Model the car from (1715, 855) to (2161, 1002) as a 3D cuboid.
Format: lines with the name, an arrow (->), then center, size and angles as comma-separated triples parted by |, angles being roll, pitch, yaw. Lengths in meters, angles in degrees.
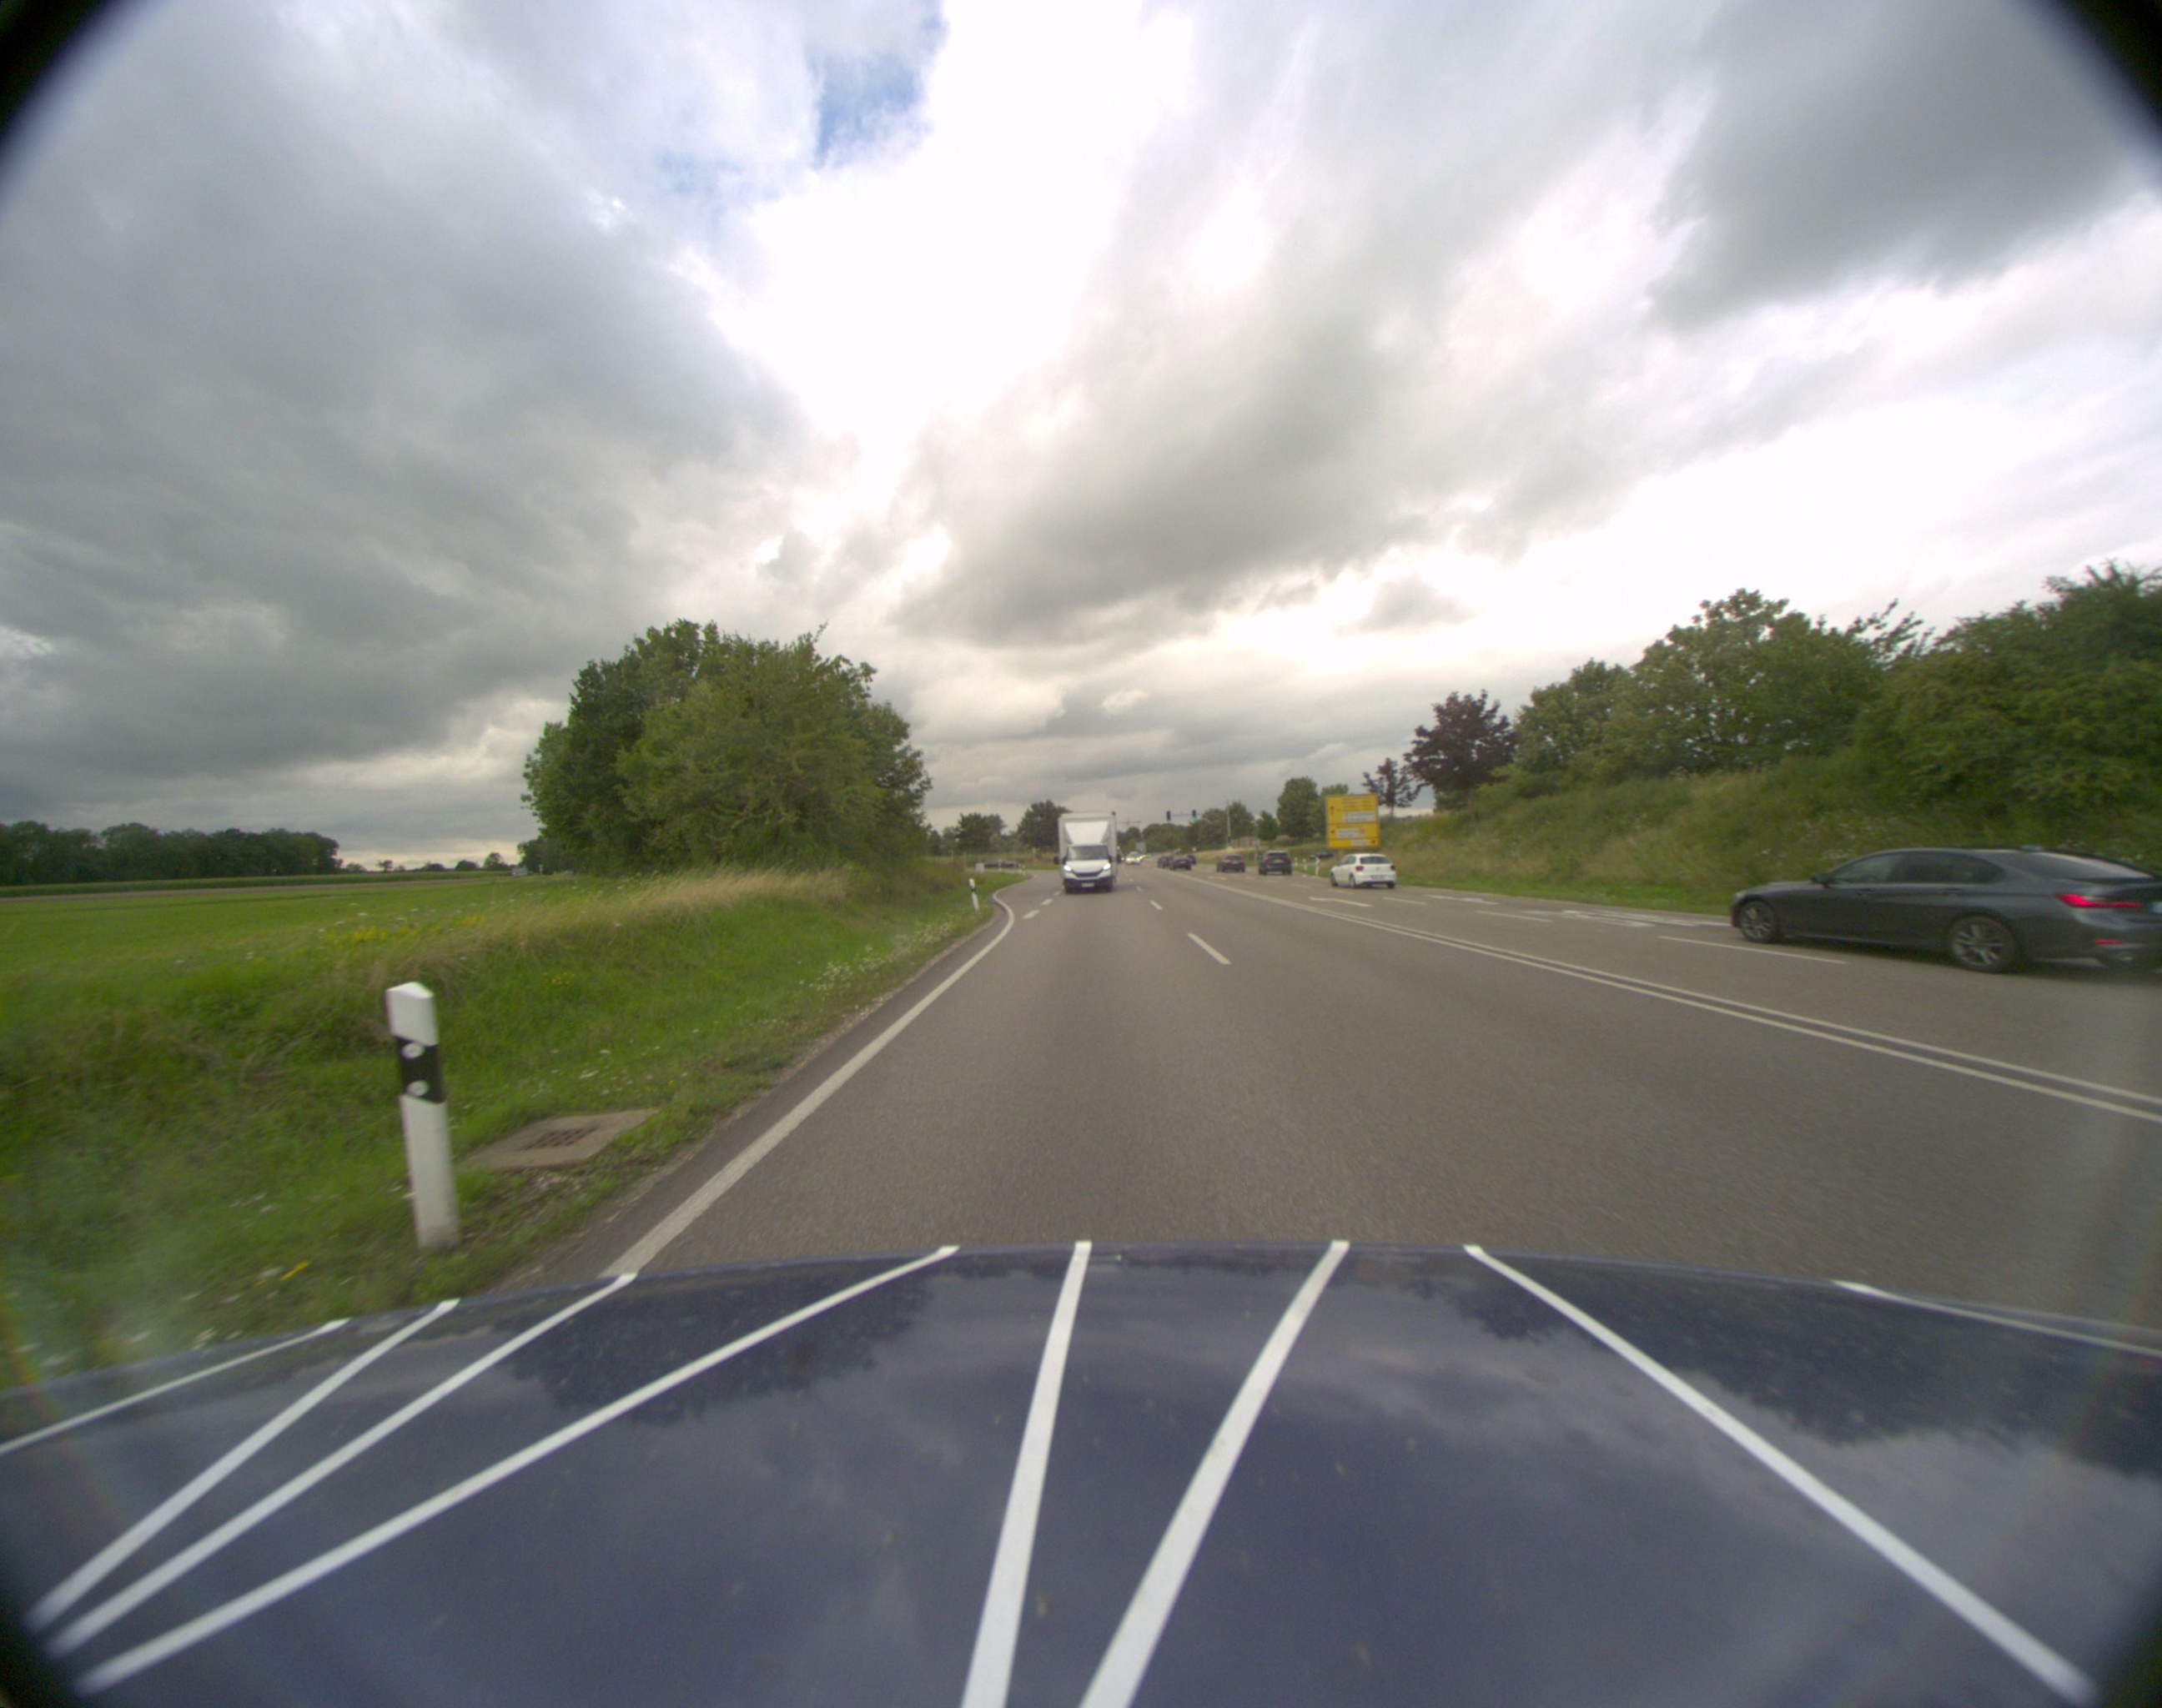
car -> 10.943, 0.720, 9.683 | 1.798, 1.397, 4.705 | 0, 0, 0

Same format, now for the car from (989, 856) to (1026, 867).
car -> -9.364, 0.978, 97.250 | 4.345, 1.214, 1.866 | -2, 0, 5

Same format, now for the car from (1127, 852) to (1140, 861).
car -> 8.000, 0.394, 116.581 | 1.860, 1.274, 4.001 | -1, 0, 3

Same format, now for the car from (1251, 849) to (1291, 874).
car -> 13.068, 0.475, 52.510 | 1.860, 1.586, 4.399 | -1, 0, 3

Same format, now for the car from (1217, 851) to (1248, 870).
car -> 12.329, 0.483, 62.004 | 1.727, 1.472, 4.659 | -1, 0, 3

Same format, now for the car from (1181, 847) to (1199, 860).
car -> 15.165, -0.029, 105.492 | 1.855, 1.706, 4.129 | -3, 0, 1

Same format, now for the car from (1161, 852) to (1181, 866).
car -> 9.931, 0.544, 83.773 | 1.860, 1.440, 4.001 | -1, 0, 3

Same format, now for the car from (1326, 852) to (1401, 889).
car -> 11.832, 0.666, 32.097 | 1.612, 1.406, 4.056 | -2, 0, 0

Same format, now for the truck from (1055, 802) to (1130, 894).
truck -> 0.357, -0.239, 35.593 | 2.935, 3.652, 8.441 | -3, 0, -2

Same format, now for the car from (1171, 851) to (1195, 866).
car -> 9.763, 0.437, 72.947 | 1.860, 1.399, 4.186 | -1, 0, 3
